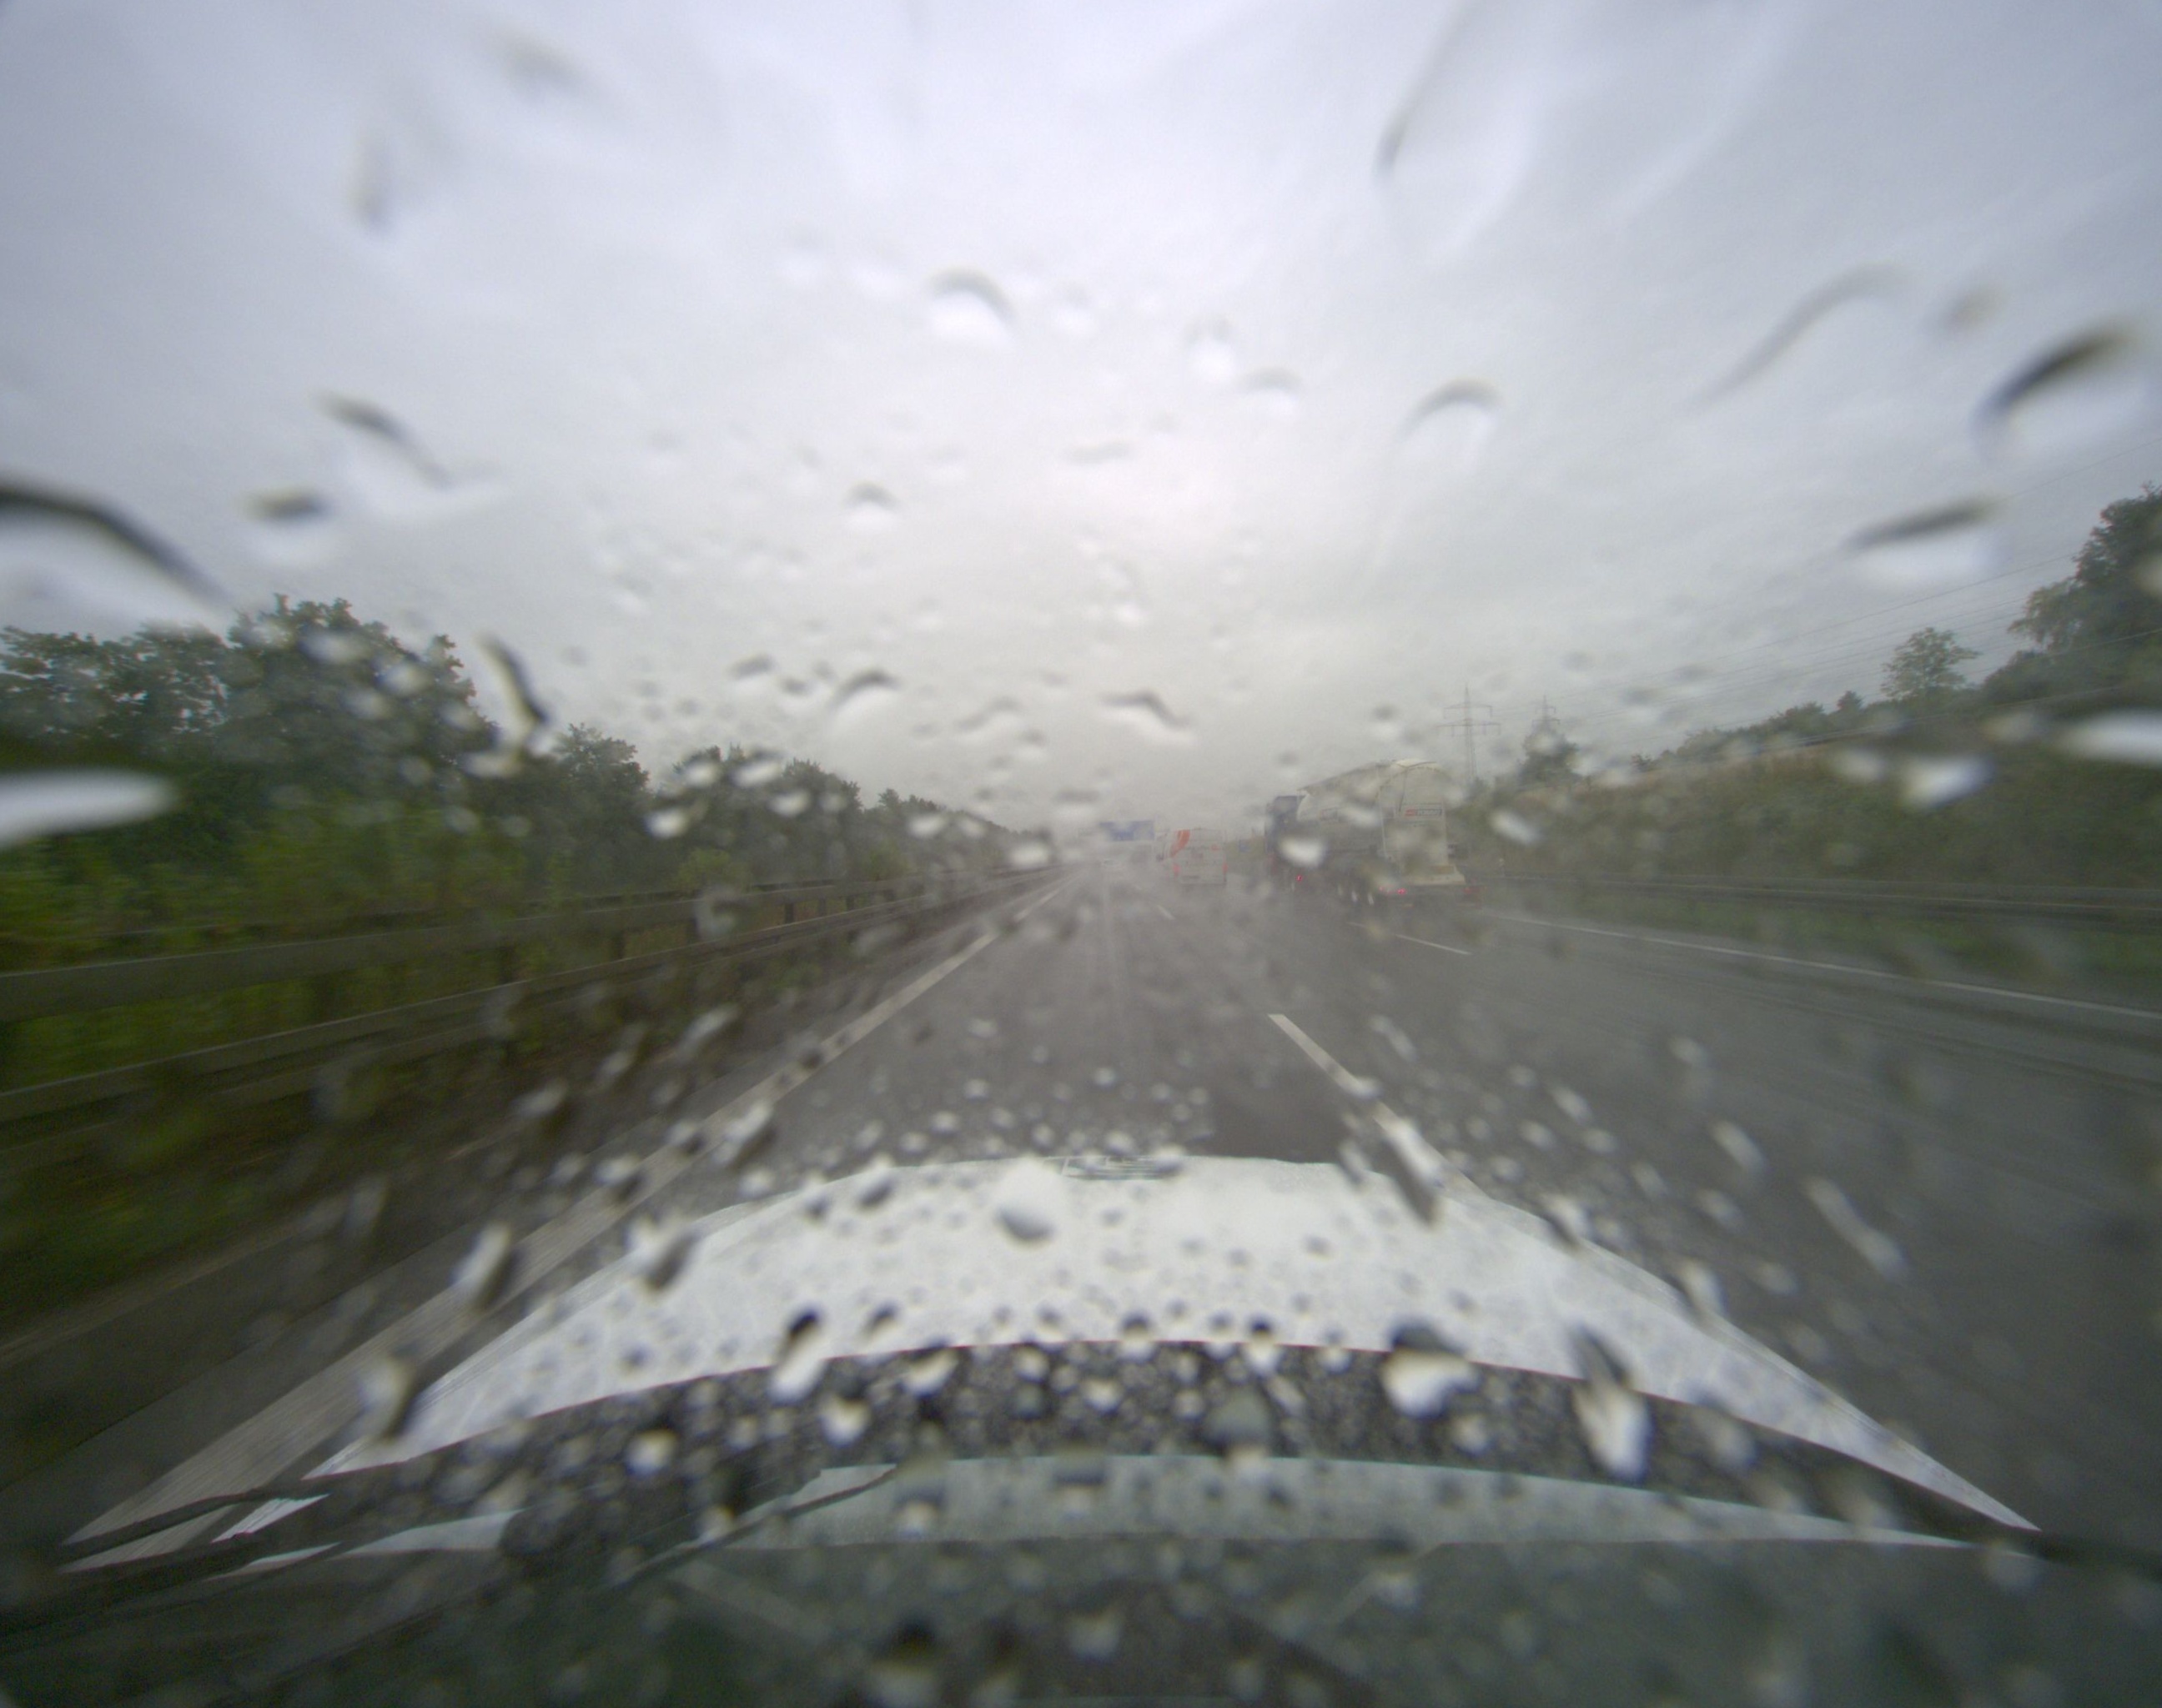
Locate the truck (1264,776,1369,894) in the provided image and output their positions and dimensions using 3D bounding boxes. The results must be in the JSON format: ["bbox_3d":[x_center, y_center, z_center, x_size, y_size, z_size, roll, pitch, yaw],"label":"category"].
[{"bbox_3d":[8.585,-0.656,30.260,2.488,3.983,5.076,0,0,1],"label":"truck"}]

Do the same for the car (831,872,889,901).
[{"bbox_3d":[-13.352,1.913,49.631,1.920,1.512,5.435,0,0,1],"label":"car"}]

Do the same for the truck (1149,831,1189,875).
[{"bbox_3d":[10.001,-0.006,94.183,3.029,4.588,16.351,0,-1,1],"label":"truck"}]

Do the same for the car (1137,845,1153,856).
[{"bbox_3d":[12.088,-0.651,154.228,2.778,2.013,4.994,0,0,1],"label":"car"}]

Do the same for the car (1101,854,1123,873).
[{"bbox_3d":[2.330,0.708,61.823,1.600,1.338,3.849,0,0,1],"label":"car"}]

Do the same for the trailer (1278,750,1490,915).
[{"bbox_3d":[8.468,-0.531,24.690,2.488,3.882,11.068,0,0,1],"label":"trailer"}]

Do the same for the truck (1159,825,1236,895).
[{"bbox_3d":[4.410,0.198,31.863,2.410,2.492,5.563,0,0,2],"label":"truck"}]
